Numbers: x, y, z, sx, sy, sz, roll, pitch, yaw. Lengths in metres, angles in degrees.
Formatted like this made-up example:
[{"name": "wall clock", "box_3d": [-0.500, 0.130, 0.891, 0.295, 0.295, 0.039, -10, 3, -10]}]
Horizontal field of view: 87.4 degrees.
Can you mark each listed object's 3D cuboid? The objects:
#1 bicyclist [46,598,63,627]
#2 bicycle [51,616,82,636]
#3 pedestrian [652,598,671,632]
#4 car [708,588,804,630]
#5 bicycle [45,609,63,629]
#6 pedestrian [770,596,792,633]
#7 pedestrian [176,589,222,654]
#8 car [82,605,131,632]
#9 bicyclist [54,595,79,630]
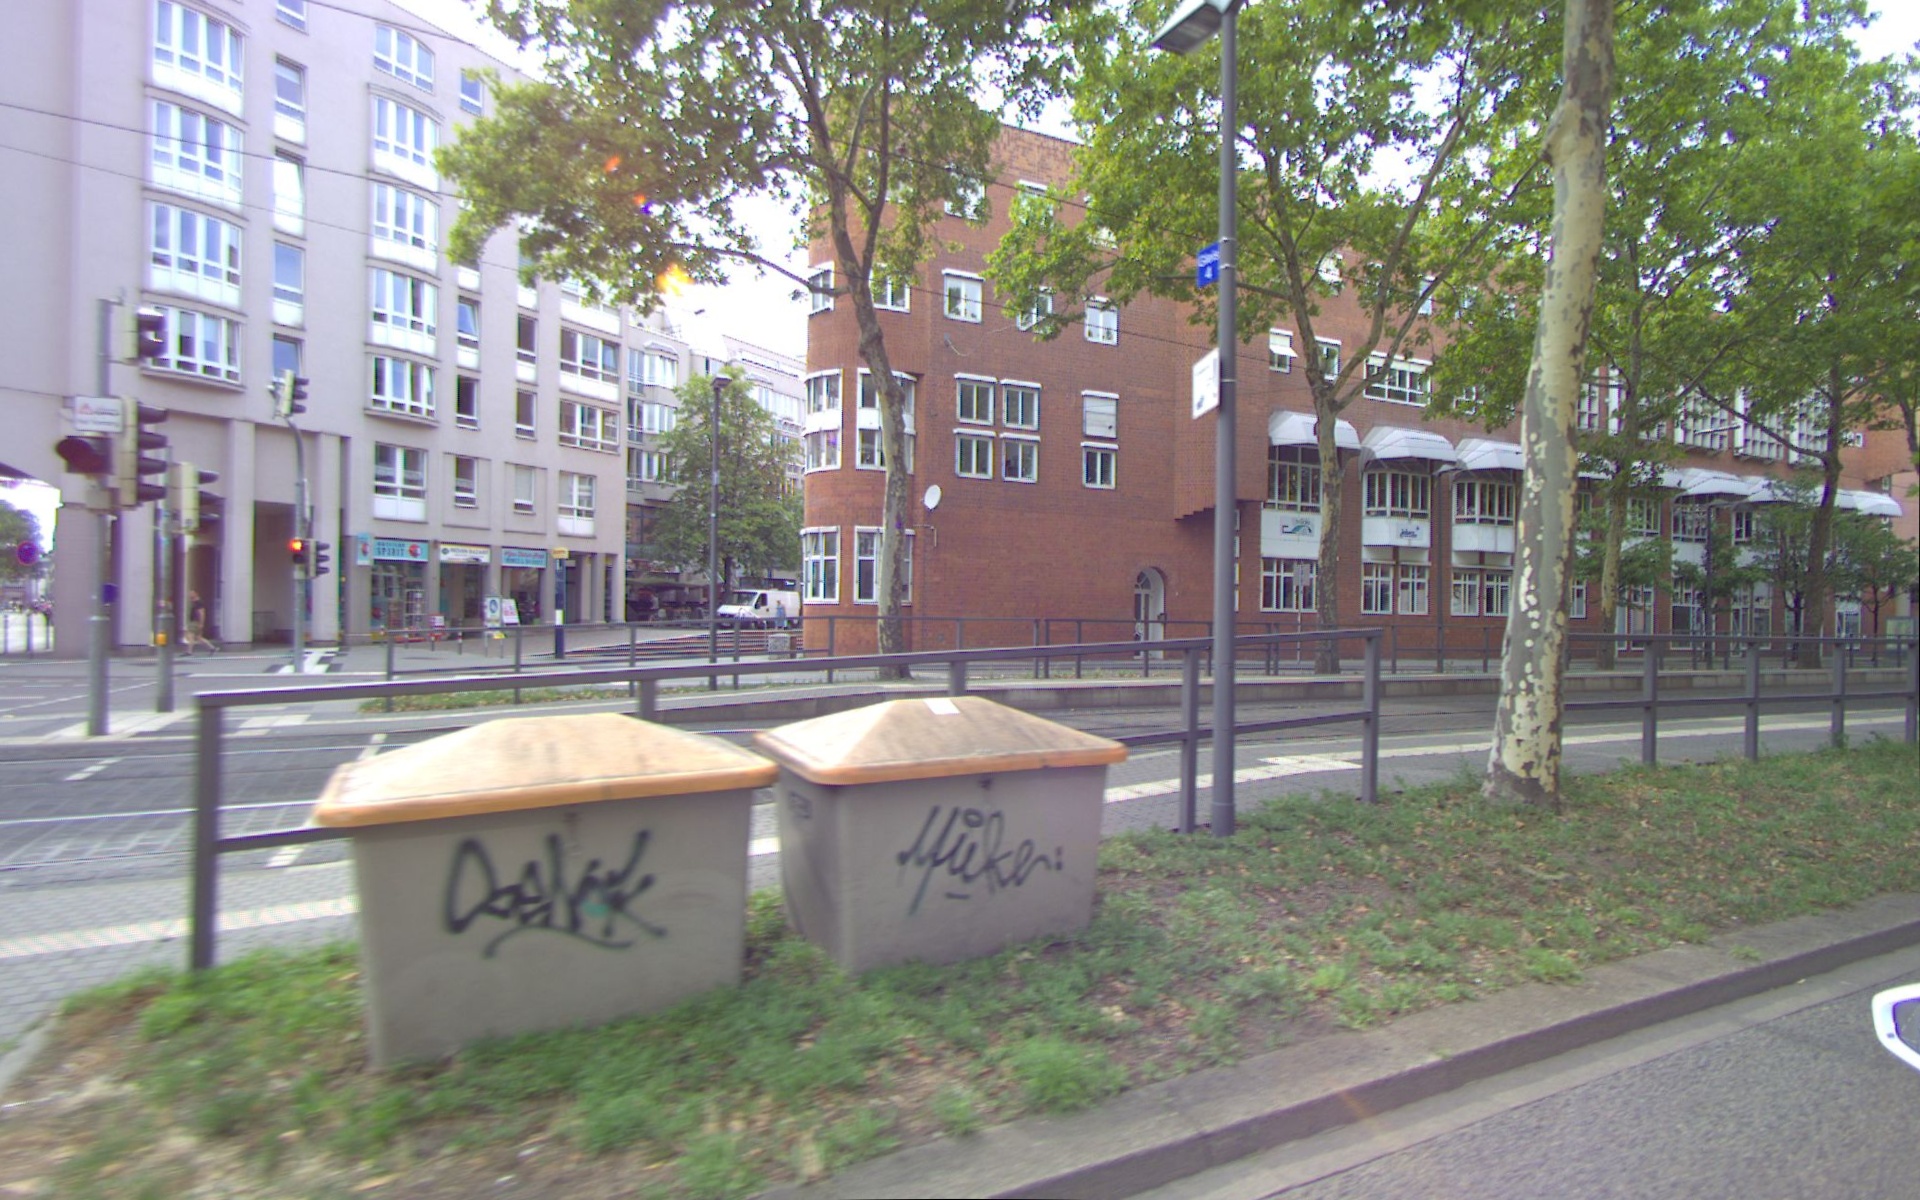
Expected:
[{"name": "bicyclist", "box_3d": [-48.972, 0.668, 54.327, 0.700, 1.545, 0.935, 1, 0, -42]}, {"name": "bicycle", "box_3d": [-40.396, 1.160, 45.427, 0.572, 0.847, 1.973, 1, 0, -28]}, {"name": "pedestrian", "box_3d": [-15.150, 0.749, 50.935, 0.698, 1.693, 0.605, 1, 0, 18]}, {"name": "car", "box_3d": [-10.003, 0.451, 49.757, 1.963, 1.962, 4.938, 1, -1, 28]}, {"name": "bicycle", "box_3d": [-48.988, 1.033, 54.330, 0.708, 1.062, 2.080, 1, 0, -42]}, {"name": "pedestrian", "box_3d": [-8.401, 0.673, 47.154, 0.681, 1.693, 0.831, 1, 0, 27]}, {"name": "pedestrian", "box_3d": [-20.269, 0.564, 26.765, 0.663, 1.702, 0.752, 0, 0, 26]}, {"name": "car", "box_3d": [-53.091, 1.137, 62.462, 3.940, 1.584, 1.700, 0, -1, 40]}, {"name": "bicyclist", "box_3d": [-40.369, 0.562, 45.383, 0.575, 1.583, 1.026, 1, -1, -28]}]
